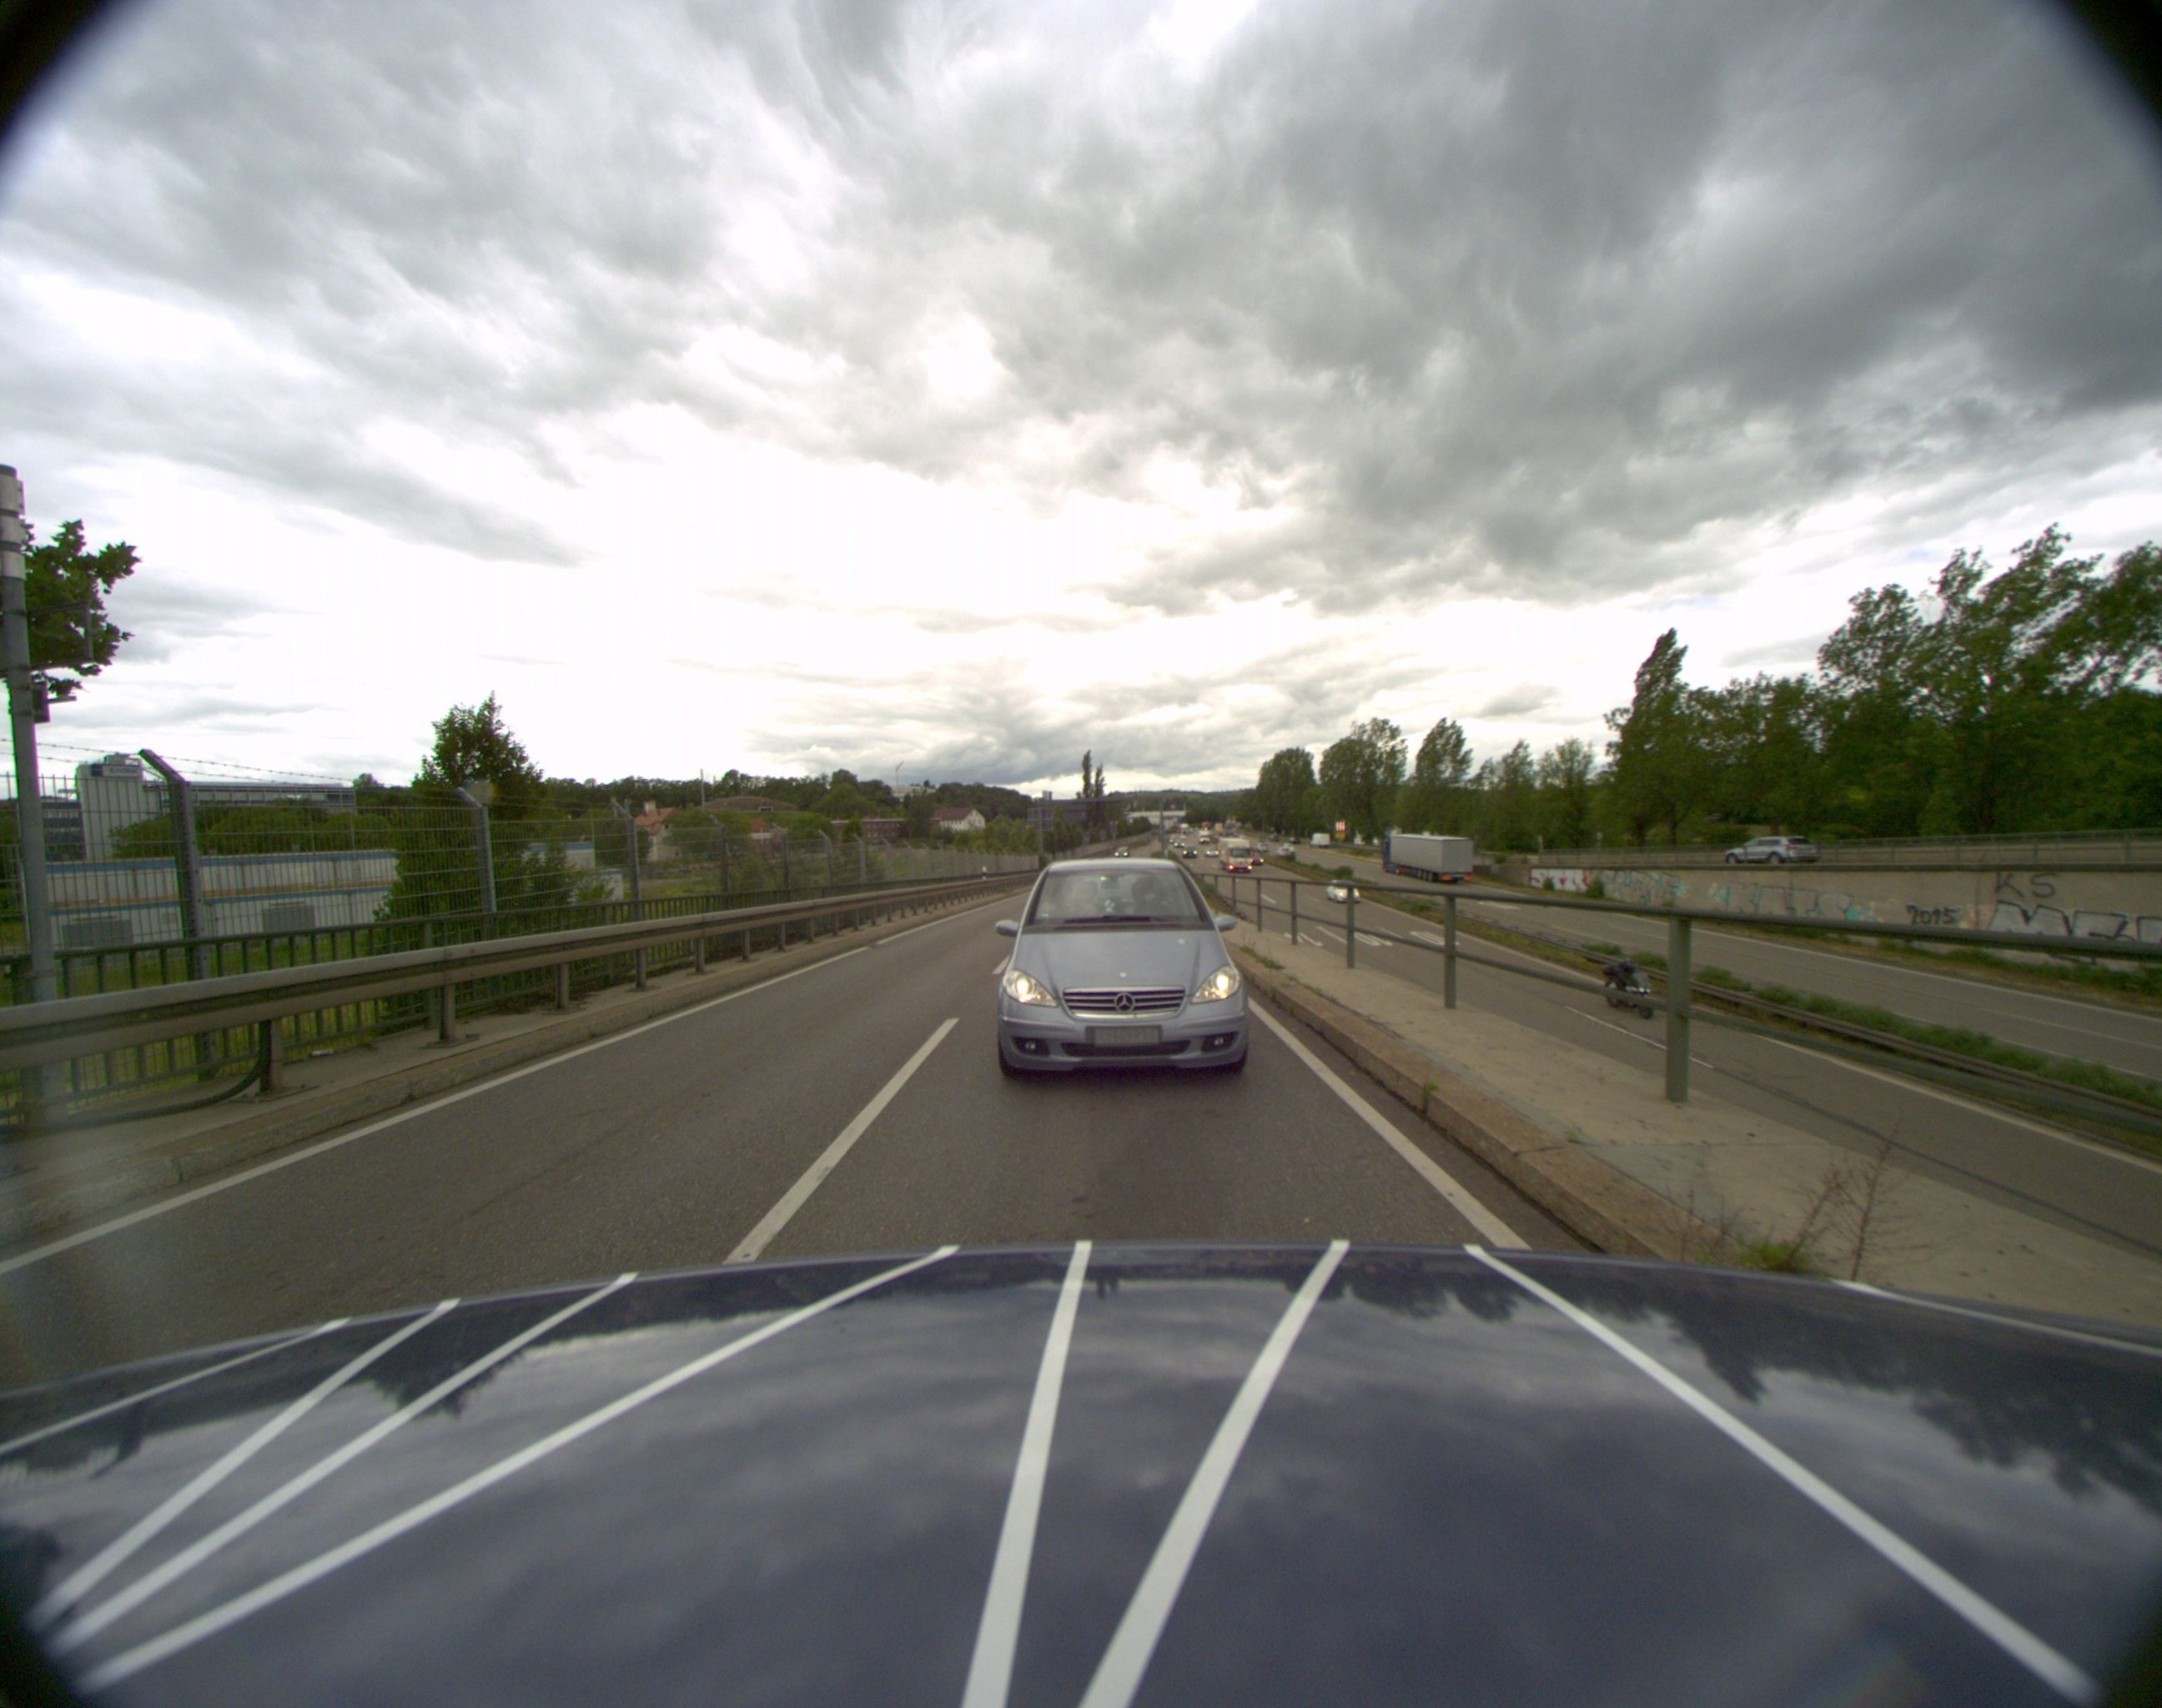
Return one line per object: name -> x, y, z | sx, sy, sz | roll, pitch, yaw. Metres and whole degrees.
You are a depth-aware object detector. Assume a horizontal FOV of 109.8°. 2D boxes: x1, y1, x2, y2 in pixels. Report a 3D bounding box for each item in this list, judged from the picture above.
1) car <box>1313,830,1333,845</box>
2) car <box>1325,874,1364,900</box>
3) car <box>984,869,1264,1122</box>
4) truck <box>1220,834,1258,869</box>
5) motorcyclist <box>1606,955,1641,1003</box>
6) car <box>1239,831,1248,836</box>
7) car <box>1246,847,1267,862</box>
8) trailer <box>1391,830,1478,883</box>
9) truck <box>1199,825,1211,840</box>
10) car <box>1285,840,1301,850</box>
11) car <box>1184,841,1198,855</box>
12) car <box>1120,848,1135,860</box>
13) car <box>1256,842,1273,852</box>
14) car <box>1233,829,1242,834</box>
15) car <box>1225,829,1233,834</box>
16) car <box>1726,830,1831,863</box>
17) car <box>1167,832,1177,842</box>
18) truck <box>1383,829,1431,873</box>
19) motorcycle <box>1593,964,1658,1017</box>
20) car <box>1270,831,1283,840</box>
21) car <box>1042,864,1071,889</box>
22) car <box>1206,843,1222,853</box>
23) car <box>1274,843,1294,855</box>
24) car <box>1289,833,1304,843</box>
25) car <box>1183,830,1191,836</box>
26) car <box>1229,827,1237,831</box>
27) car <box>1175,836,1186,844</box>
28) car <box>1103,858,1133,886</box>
car -> 45.419, -3.080, 142.689 | 1.998, 2.635, 5.179 | 2, 3, 2
car -> 19.109, 2.357, 55.151 | 1.696, 1.524, 3.607 | -1, 3, 2
car -> 0.304, 0.932, 6.775 | 1.743, 1.534, 3.993 | -1, 0, 1
truck -> 17.714, -0.384, 85.998 | 2.888, 3.506, 9.870 | 1, 3, 4
motorcyclist -> 17.271, 3.982, 24.209 | 0.595, 1.364, 0.761 | -2, 3, 2
car -> 46.466, -5.900, 217.408 | 1.998, 1.412, 3.999 | -1, 3, 4
car -> 21.853, 0.055, 94.757 | 1.834, 1.570, 4.180 | -2, 4, 2
trailer -> 33.141, -0.005, 72.107 | 2.793, 4.117, 13.759 | -1, 3, 4
truck -> 27.633, -4.823, 170.100 | 2.238, 2.993, 7.231 | -1, 3, 6
car -> 34.216, -1.499, 122.450 | 1.682, 1.412, 3.999 | 0, 3, 4
car -> 16.180, -0.951, 111.783 | 1.997, 1.830, 4.425 | 0, 3, 7
car -> 6.972, -0.005, 114.159 | 1.799, 1.643, 4.153 | -2, -1, 8
car -> 30.744, -1.235, 127.302 | 1.998, 1.412, 3.999 | 2, 3, 4
car -> 48.514, -7.031, 235.472 | 1.998, 1.412, 3.999 | -1, 3, 4
car -> 46.858, -7.135, 240.891 | 1.998, 1.412, 3.999 | -1, 3, 4
car -> 38.990, -0.412, 42.638 | 1.898, 1.642, 4.377 | -3, 0, 0
car -> 20.610, -3.873, 172.561 | 1.998, 2.003, 3.999 | 0, 3, 3
truck -> 33.600, -0.404, 78.538 | 2.793, 4.117, 5.934 | -1, 3, 4
motorcycle -> 17.282, 4.309, 24.192 | 0.595, 1.197, 2.125 | -2, 3, 2
car -> 46.855, -4.451, 182.391 | 1.886, 1.807, 4.560 | 2, 3, 2
car -> -1.541, 1.421, 49.526 | 1.589, 1.423, 3.443 | -2, 1, 3
car -> 19.921, -0.927, 113.962 | 1.789, 1.294, 4.151 | 0, 3, 2
car -> 29.114, -0.744, 109.135 | 1.998, 1.412, 3.999 | 2, 3, 4
car -> 45.973, -3.436, 162.131 | 1.886, 1.807, 4.560 | 2, 3, 2
car -> 29.641, -5.961, 213.228 | 1.769, 1.520, 3.334 | 0, 3, 1
car -> 51.878, -8.516, 259.533 | 1.998, 1.412, 3.999 | -1, 3, 4
car -> 19.573, -2.712, 149.555 | 1.828, 1.443, 4.125 | 0, 3, 1
car -> 2.394, 1.194, 50.157 | 1.830, 1.701, 4.001 | -2, -1, 1
